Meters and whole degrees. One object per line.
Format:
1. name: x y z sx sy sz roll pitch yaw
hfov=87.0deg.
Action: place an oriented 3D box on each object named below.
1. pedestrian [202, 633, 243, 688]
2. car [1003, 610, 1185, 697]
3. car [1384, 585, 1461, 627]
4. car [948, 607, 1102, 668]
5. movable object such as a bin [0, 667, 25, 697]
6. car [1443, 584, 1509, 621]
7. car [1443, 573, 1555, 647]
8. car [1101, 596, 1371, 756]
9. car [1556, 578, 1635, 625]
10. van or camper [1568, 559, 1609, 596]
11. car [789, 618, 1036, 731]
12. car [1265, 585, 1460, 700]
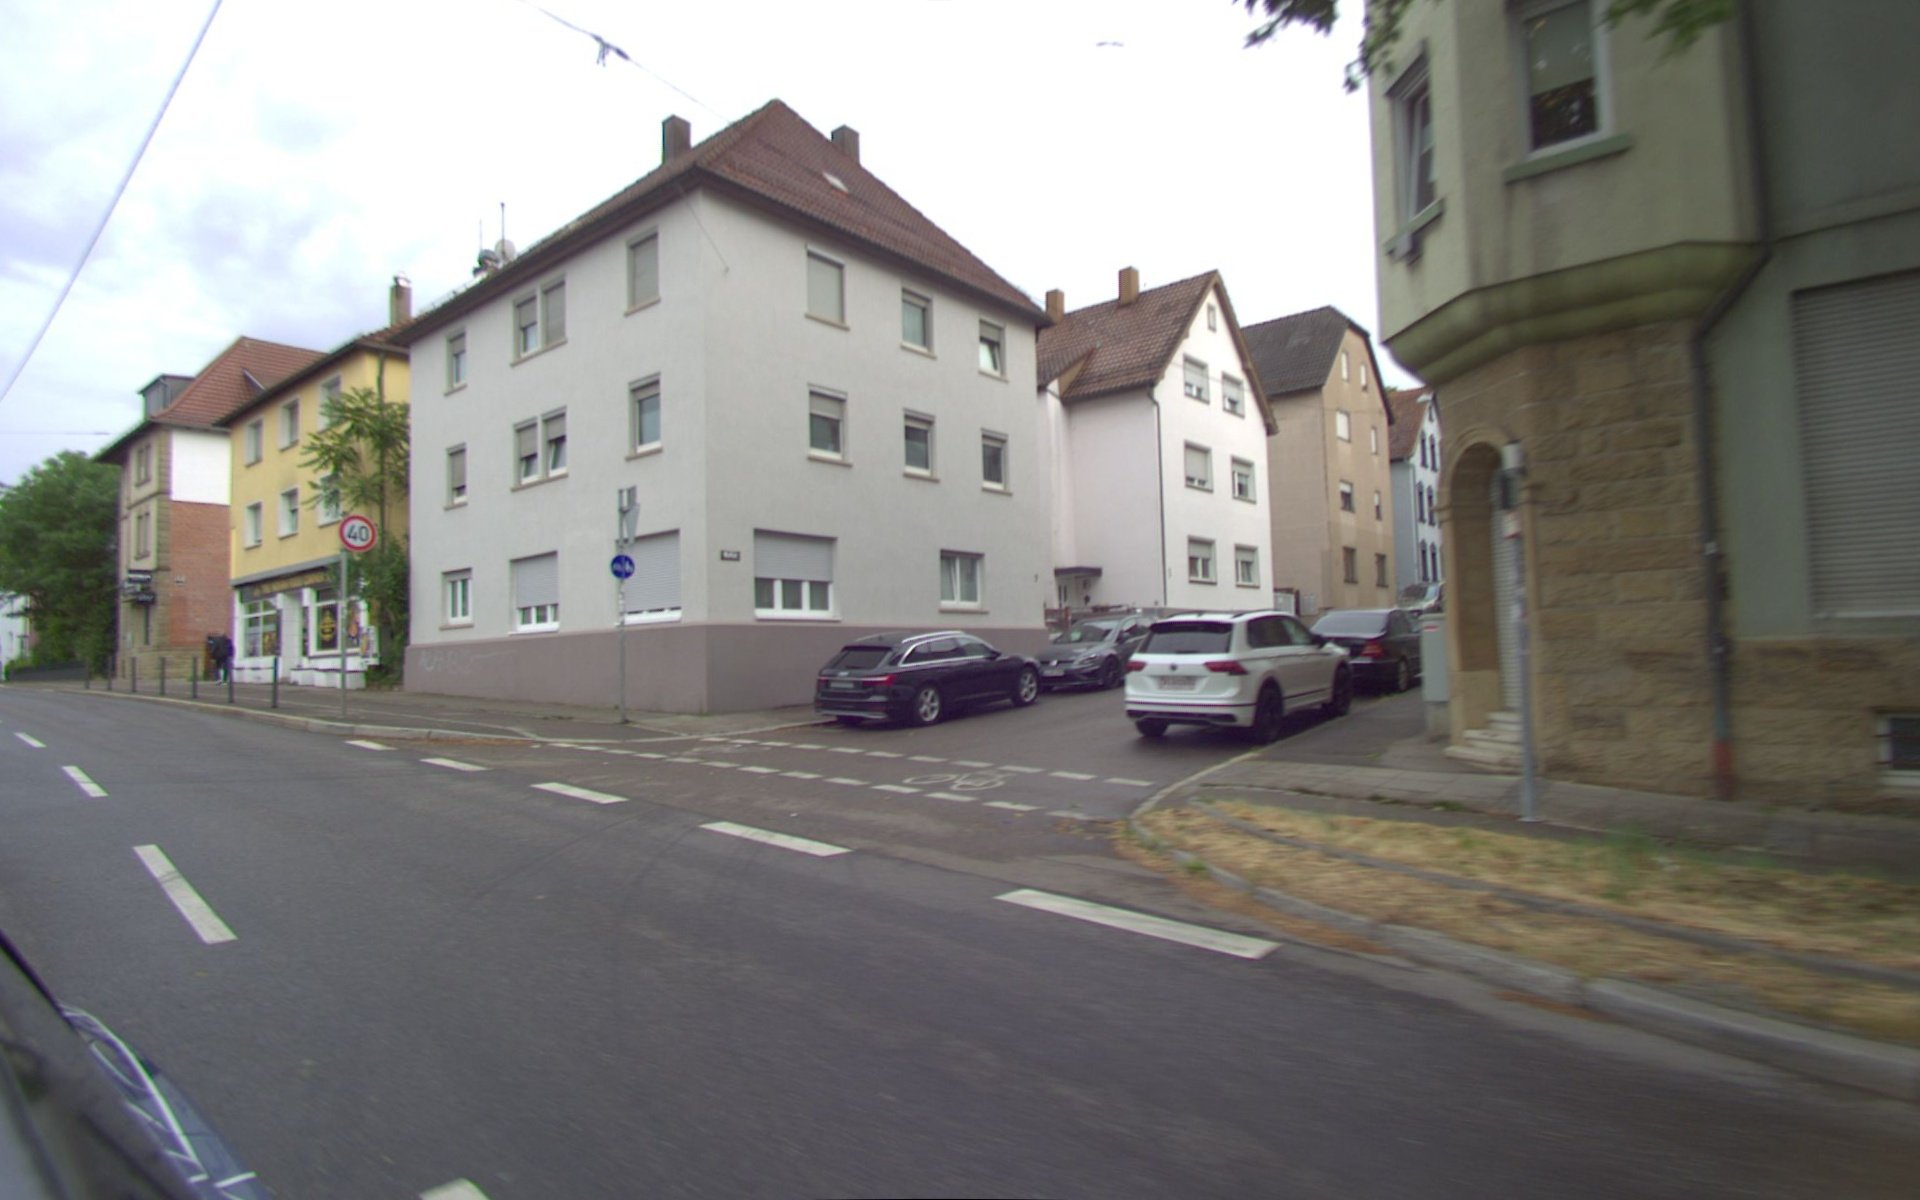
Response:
1. pedestrian: -23.688 1.928 32.508 0.991 1.692 0.807 -2 -2 38
2. car: 2.892 1.058 21.257 1.972 1.464 3.948 -3 0 39
3. car: 19.160 0.229 41.852 1.832 1.478 3.975 -2 1 41
4. car: 1.766 1.037 28.225 3.998 1.532 1.779 -2 -1 41
5. movable object such as a bin: -128.324 11.028 135.585 2.908 3.873 8.149 0 -5 -32
6. car: 24.005 0.089 47.032 1.832 1.478 3.975 -2 1 41
7. car: 14.353 0.237 26.857 1.831 1.716 4.142 -3 0 39
8. car: 3.947 0.915 14.024 1.998 1.716 4.140 -3 0 40
9. car: 22.338 0.025 35.506 1.831 1.418 4.142 -3 0 39
10. van or camper: 47.704 -1.709 76.765 1.832 2.627 4.601 -3 0 40
11. car: -0.695 1.165 17.108 1.998 1.464 3.948 -3 0 39
12. car: 7.342 0.686 18.222 1.998 1.716 4.140 -3 0 40
